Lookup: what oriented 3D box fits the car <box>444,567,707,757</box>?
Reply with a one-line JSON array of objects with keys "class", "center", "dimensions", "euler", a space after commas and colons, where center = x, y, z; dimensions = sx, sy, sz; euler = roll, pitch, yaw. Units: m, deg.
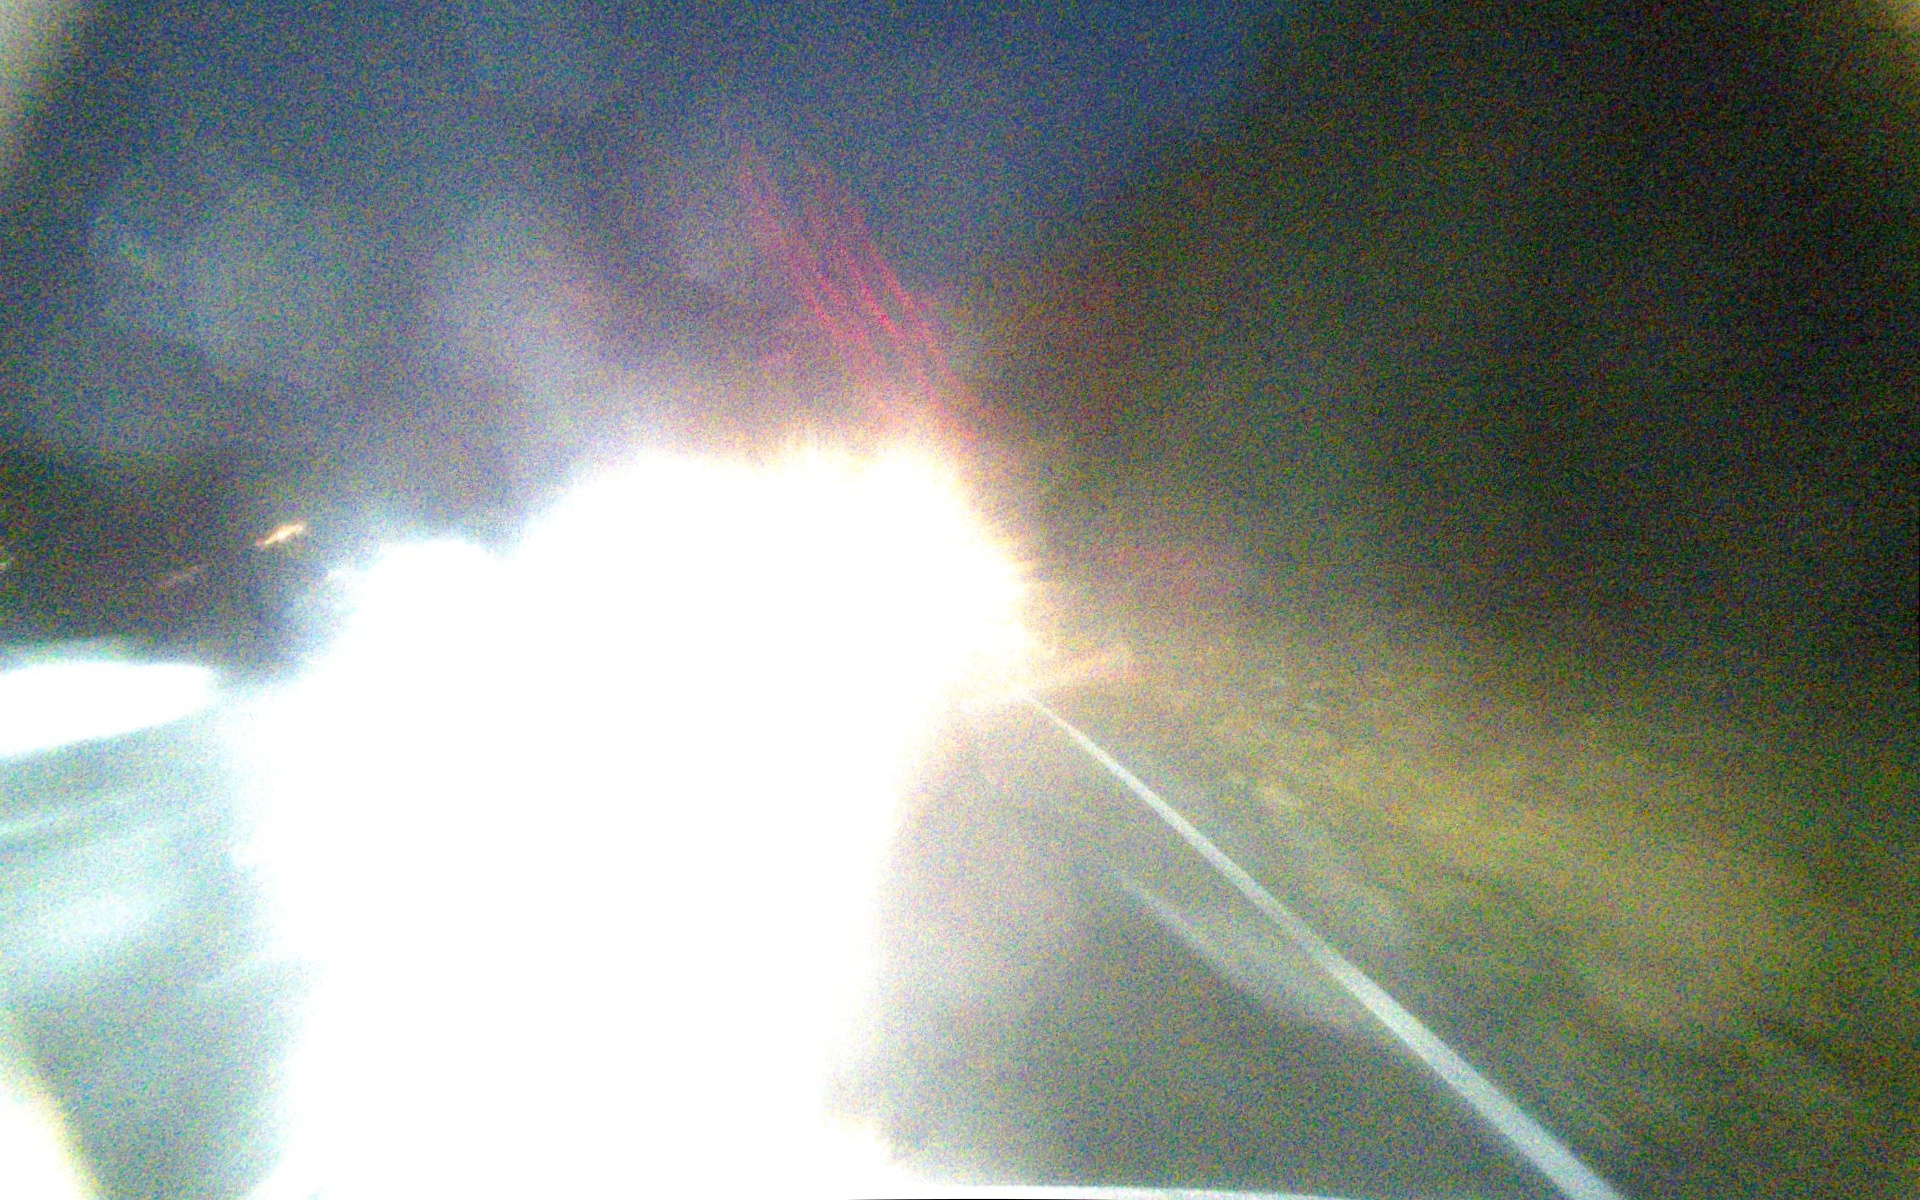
[{"class": "car", "center": [-3.861, 0.561, 17.321], "dimensions": [1.887, 1.733, 3.999], "euler": [1, 0, -2]}]

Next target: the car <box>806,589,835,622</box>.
[{"class": "car", "center": [-10.110, 0.397, 120.190], "dimensions": [1.954, 2.312, 5.463], "euler": [1, 0, -3]}]
